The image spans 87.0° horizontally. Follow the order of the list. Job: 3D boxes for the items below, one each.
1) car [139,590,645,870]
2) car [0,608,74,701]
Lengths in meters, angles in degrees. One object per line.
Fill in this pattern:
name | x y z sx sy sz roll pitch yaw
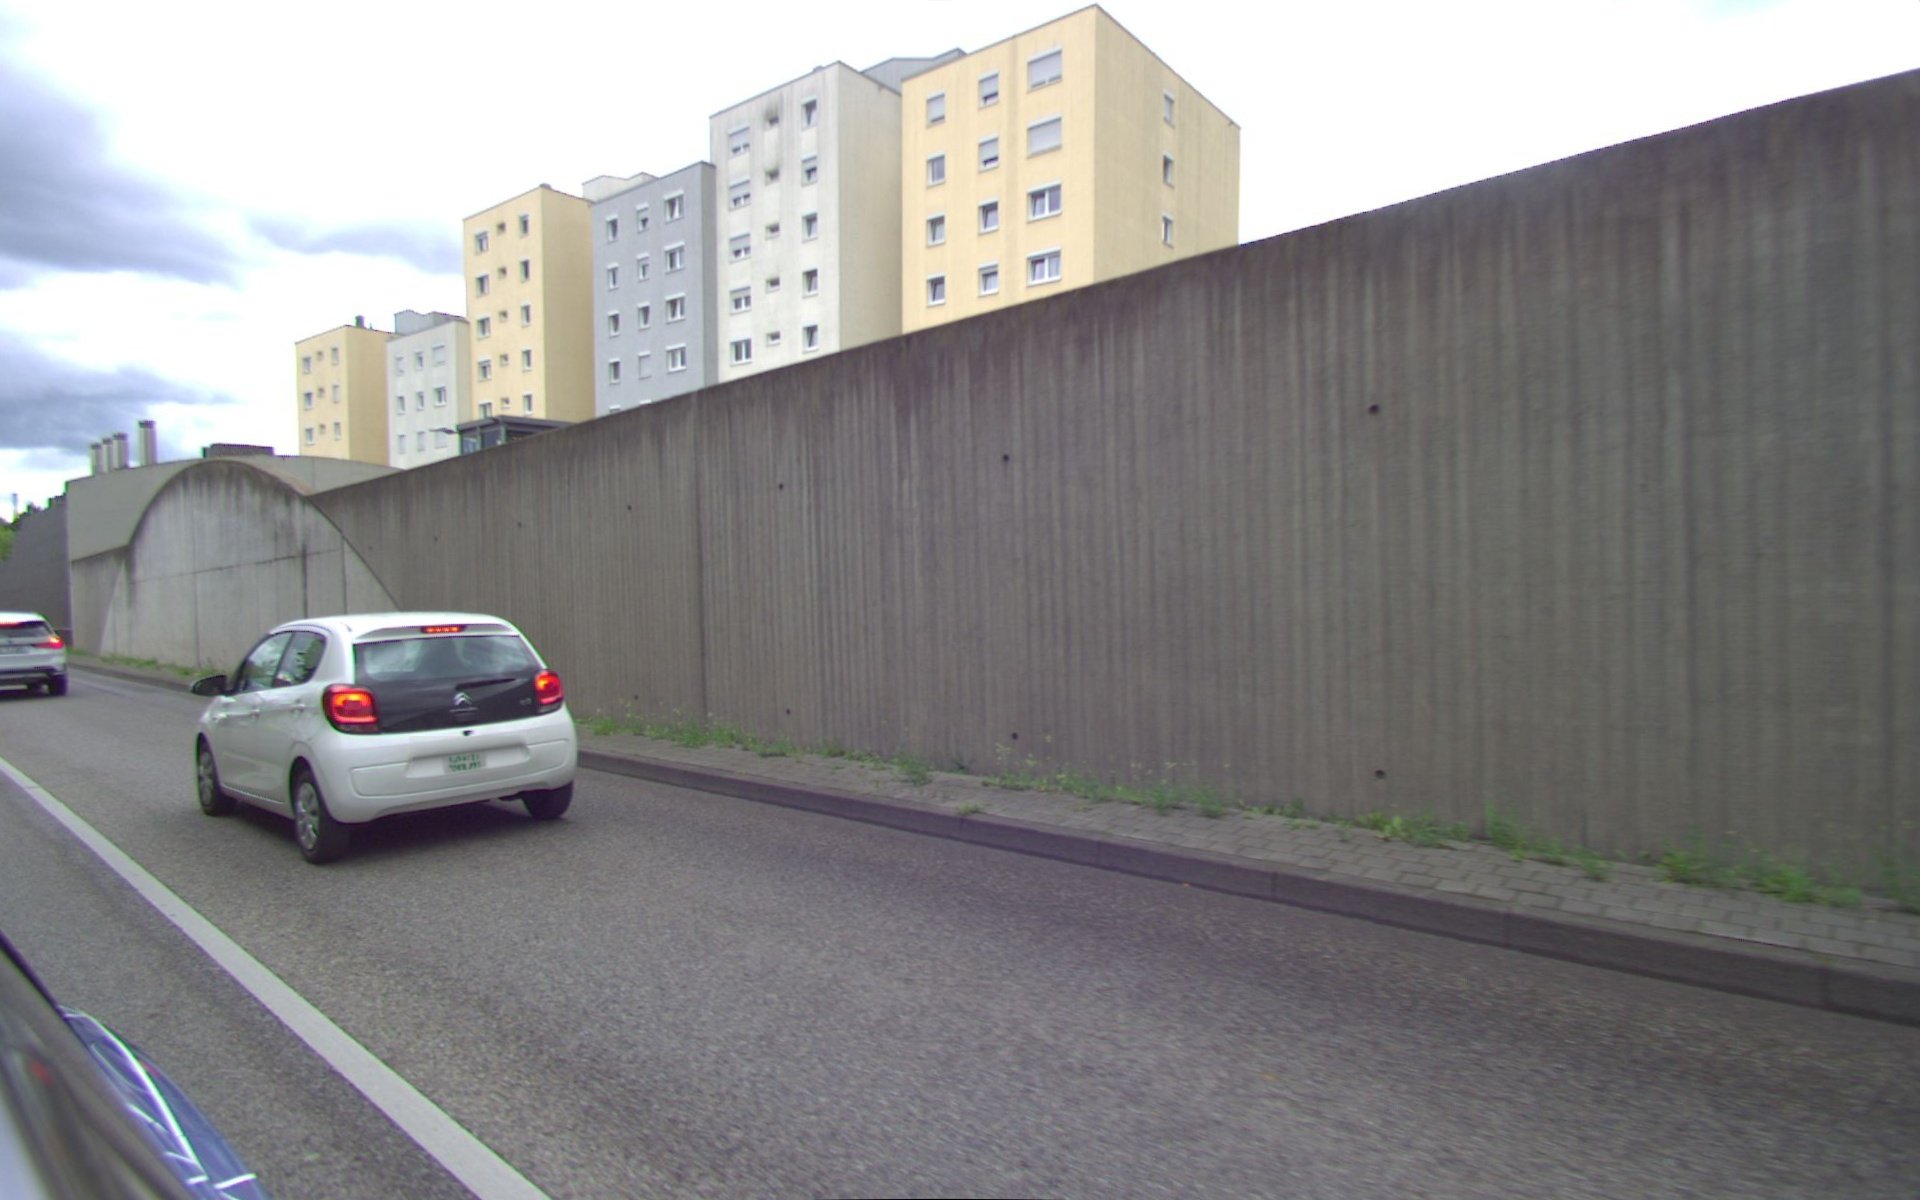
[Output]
car | -4.408 0.745 7.589 4.204 1.507 1.896 -2 0 39
car | -19.122 1.013 19.965 4.424 1.644 1.871 0 1 41
